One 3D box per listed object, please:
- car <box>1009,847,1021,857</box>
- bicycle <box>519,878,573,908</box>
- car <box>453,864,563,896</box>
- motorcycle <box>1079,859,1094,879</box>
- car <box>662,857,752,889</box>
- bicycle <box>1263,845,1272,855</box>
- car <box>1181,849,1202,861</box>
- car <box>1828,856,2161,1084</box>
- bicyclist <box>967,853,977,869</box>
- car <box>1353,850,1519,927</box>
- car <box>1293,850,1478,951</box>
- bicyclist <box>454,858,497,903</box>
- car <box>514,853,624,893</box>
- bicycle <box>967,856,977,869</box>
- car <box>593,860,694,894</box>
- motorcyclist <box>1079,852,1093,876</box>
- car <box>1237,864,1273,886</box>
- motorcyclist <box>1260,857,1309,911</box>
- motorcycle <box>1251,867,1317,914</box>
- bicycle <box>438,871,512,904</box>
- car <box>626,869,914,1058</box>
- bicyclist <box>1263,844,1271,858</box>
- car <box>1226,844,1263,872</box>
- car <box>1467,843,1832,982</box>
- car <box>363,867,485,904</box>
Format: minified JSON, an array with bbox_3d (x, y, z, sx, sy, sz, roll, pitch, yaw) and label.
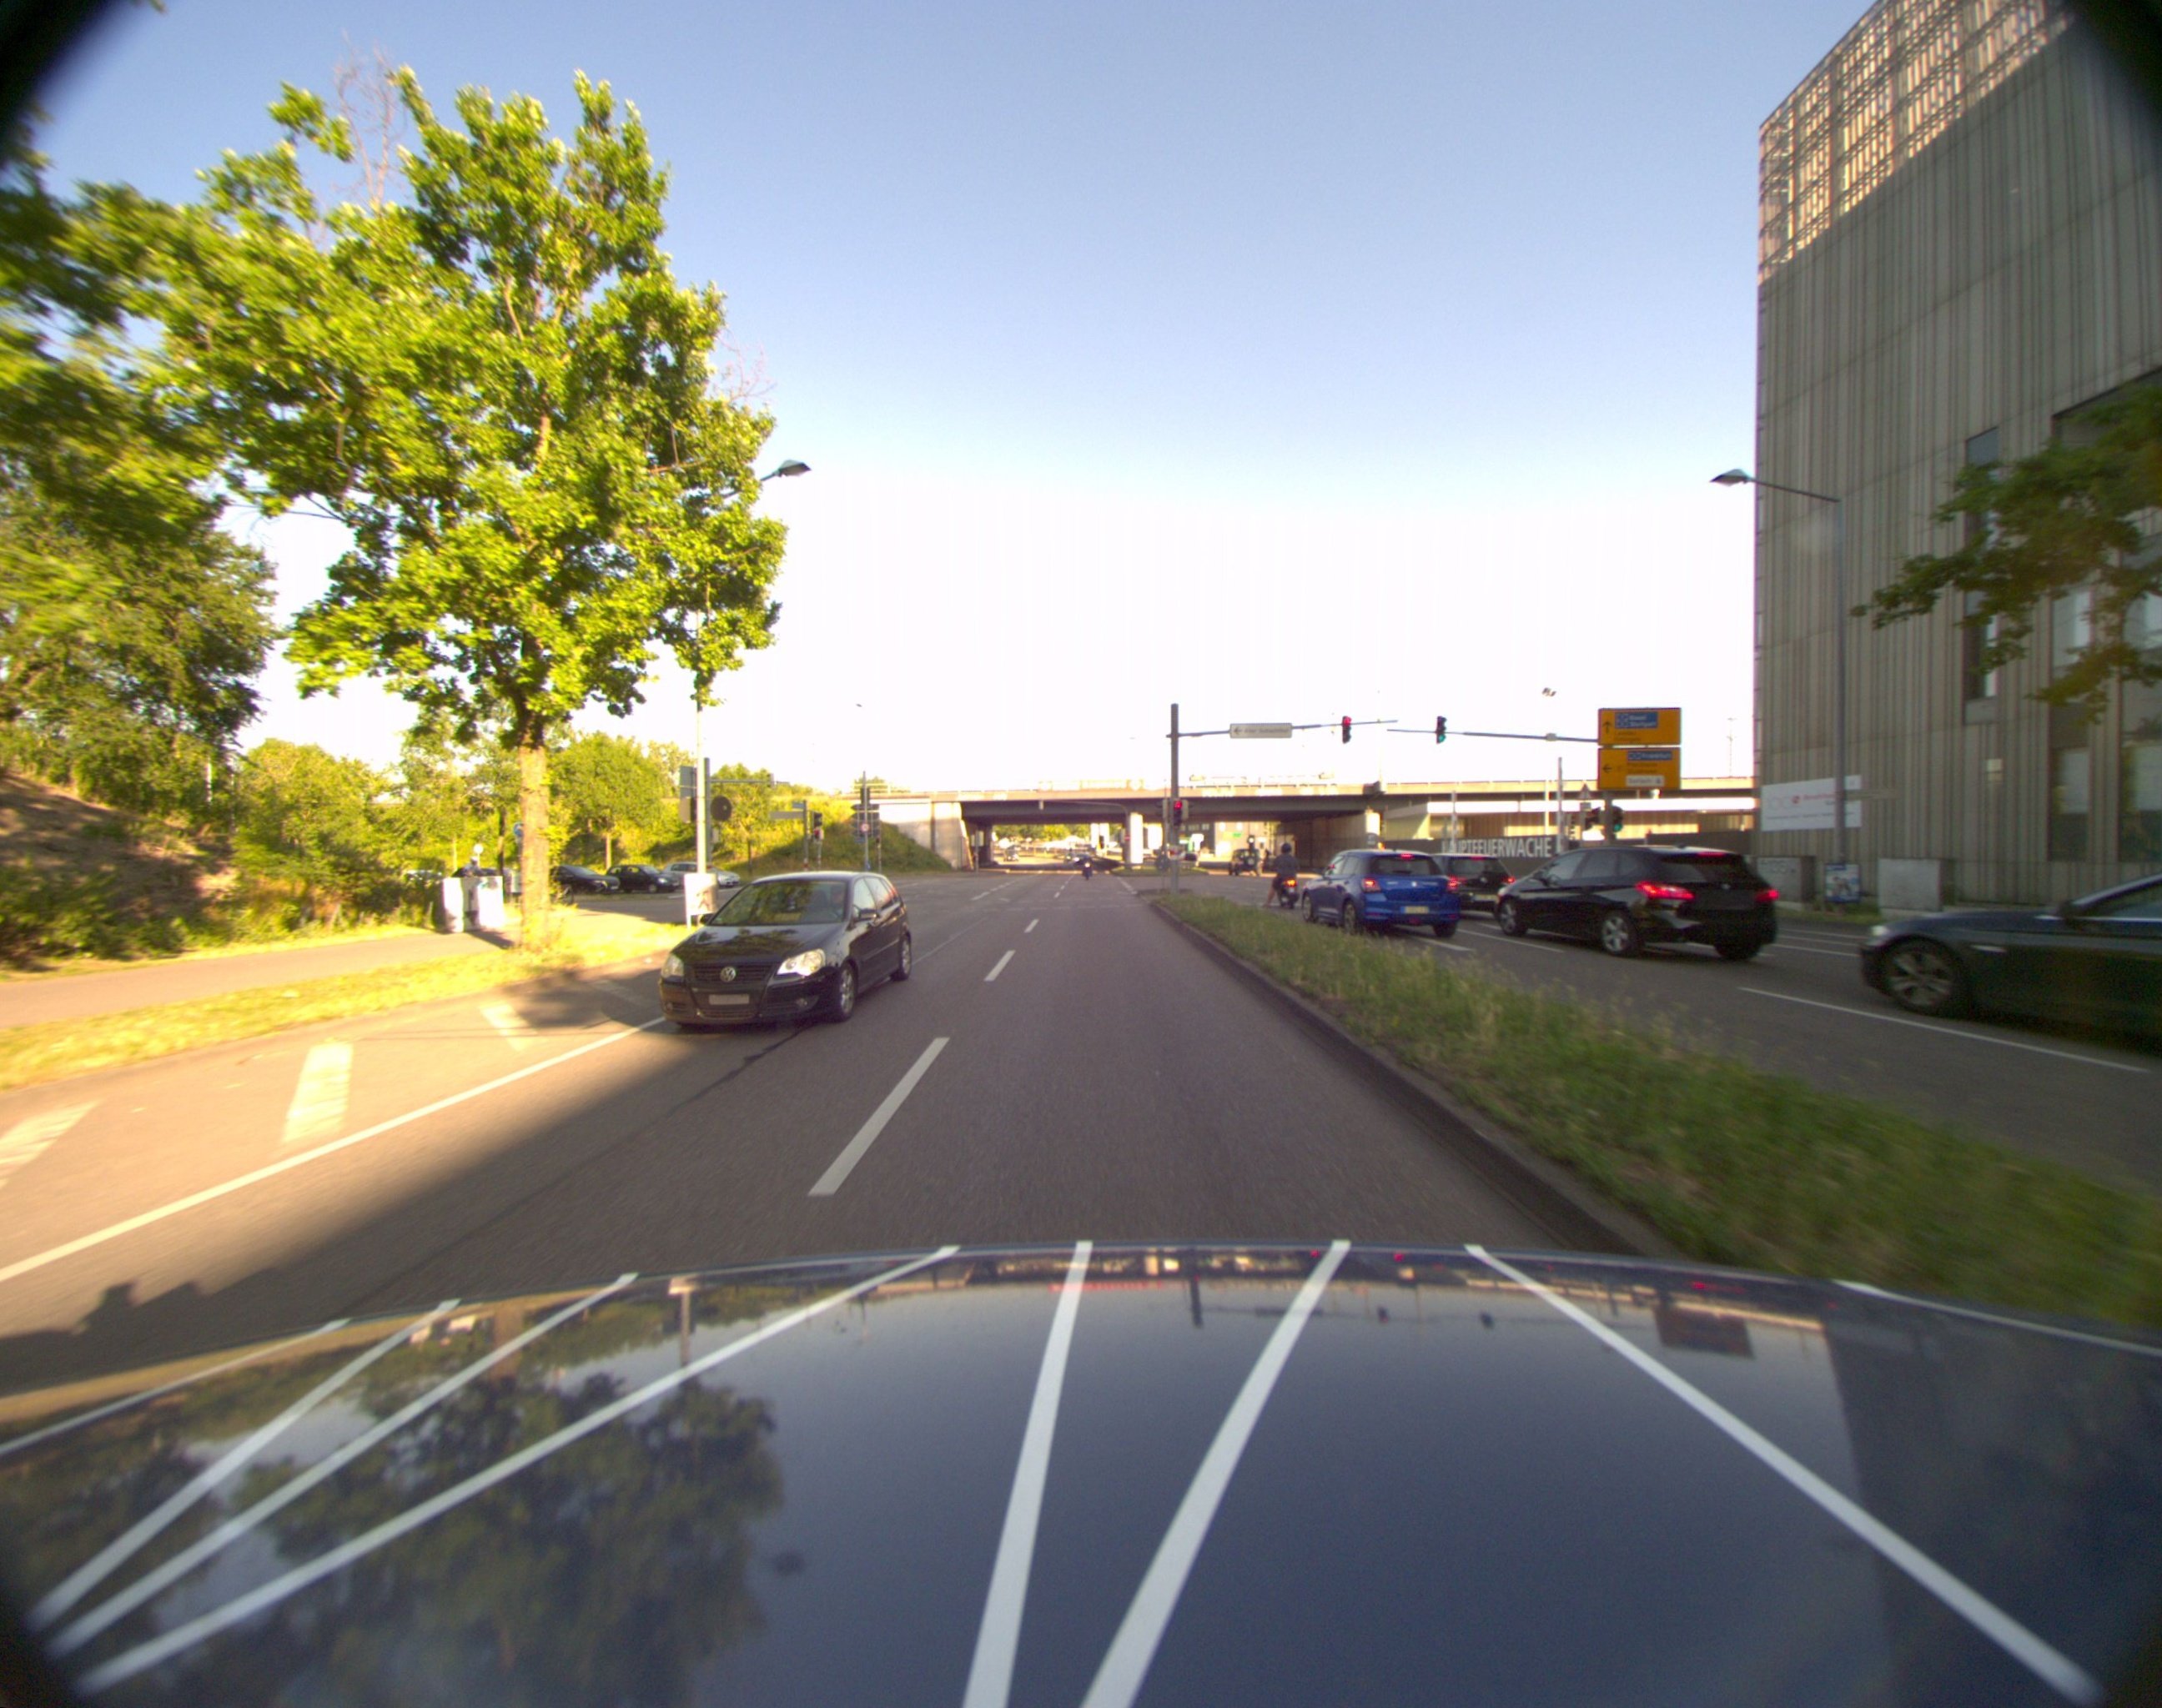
[{"bbox_3d":[-10.743,-0.371,123.460,1.877,1.431,3.680,-2,1,-4],"label":"car"},{"bbox_3d":[-18.157,1.304,25.794,1.664,0.985,0.579,0,-1,17],"label":"bicycle"},{"bbox_3d":[-30.070,1.348,39.925,4.336,1.399,2.041,-2,2,7],"label":"car"},{"bbox_3d":[0.341,0.907,46.408,0.811,1.040,2.353,-2,1,1],"label":"motorcycle"},{"bbox_3d":[-20.739,1.025,42.222,3.996,1.521,1.891,-2,2,2],"label":"car"},{"bbox_3d":[21.869,-0.450,89.048,0.706,1.149,2.081,-2,0,5],"label":"bicycle"},{"bbox_3d":[14.144,0.095,97.539,1.999,1.393,4.347,3,1,-1],"label":"car"},{"bbox_3d":[8.146,0.849,4.801,1.999,1.444,4.797,3,1,-1],"label":"car"},{"bbox_3d":[-9.642,0.609,67.143,0.843,1.413,1.113,-2,2,-8],"label":"bicyclist"},{"bbox_3d":[8.273,0.716,18.168,1.999,1.467,4.079,-3,1,0],"label":"car"},{"bbox_3d":[5.282,0.715,13.784,1.706,1.444,3.856,3,1,-1],"label":"car"},{"bbox_3d":[-22.283,0.957,27.974,0.859,1.585,0.793,-2,2,0],"label":"bicyclist"},{"bbox_3d":[-24.255,0.892,36.071,3.995,1.684,1.863,-2,2,7],"label":"car"},{"bbox_3d":[-9.608,0.769,67.082,0.783,1.051,2.494,-2,1,-7],"label":"bicycle"},{"bbox_3d":[-22.539,1.176,39.232,3.995,1.521,2.000,-2,2,7],"label":"car"},{"bbox_3d":[0.315,0.610,46.418,0.839,1.434,0.878,-2,2,1],"label":"motorcyclist"},{"bbox_3d":[15.406,1.845,67.619,1.999,1.583,4.713,3,1,-1],"label":"car"},{"bbox_3d":[5.203,0.764,19.509,0.799,1.341,1.274,1,-1,-6],"label":"motorcyclist"},{"bbox_3d":[5.210,0.906,19.689,0.842,1.069,2.399,1,0,-6],"label":"motorcycle"},{"bbox_3d":[-22.294,1.230,27.972,2.018,1.106,0.821,-2,2,0],"label":"bicycle"},{"bbox_3d":[-3.055,0.972,8.337,1.621,1.402,3.681,-2,1,-1],"label":"car"},{"bbox_3d":[21.860,-0.352,89.157,0.725,1.555,0.939,-2,2,5],"label":"bicyclist"},{"bbox_3d":[12.051,0.282,56.161,1.799,1.967,3.994,2,0,-1],"label":"car"},{"bbox_3d":[8.229,0.695,11.758,1.999,1.583,4.713,3,1,-1],"label":"car"},{"bbox_3d":[-31.939,1.520,37.000,4.336,1.559,2.041,-2,2,7],"label":"car"}]
